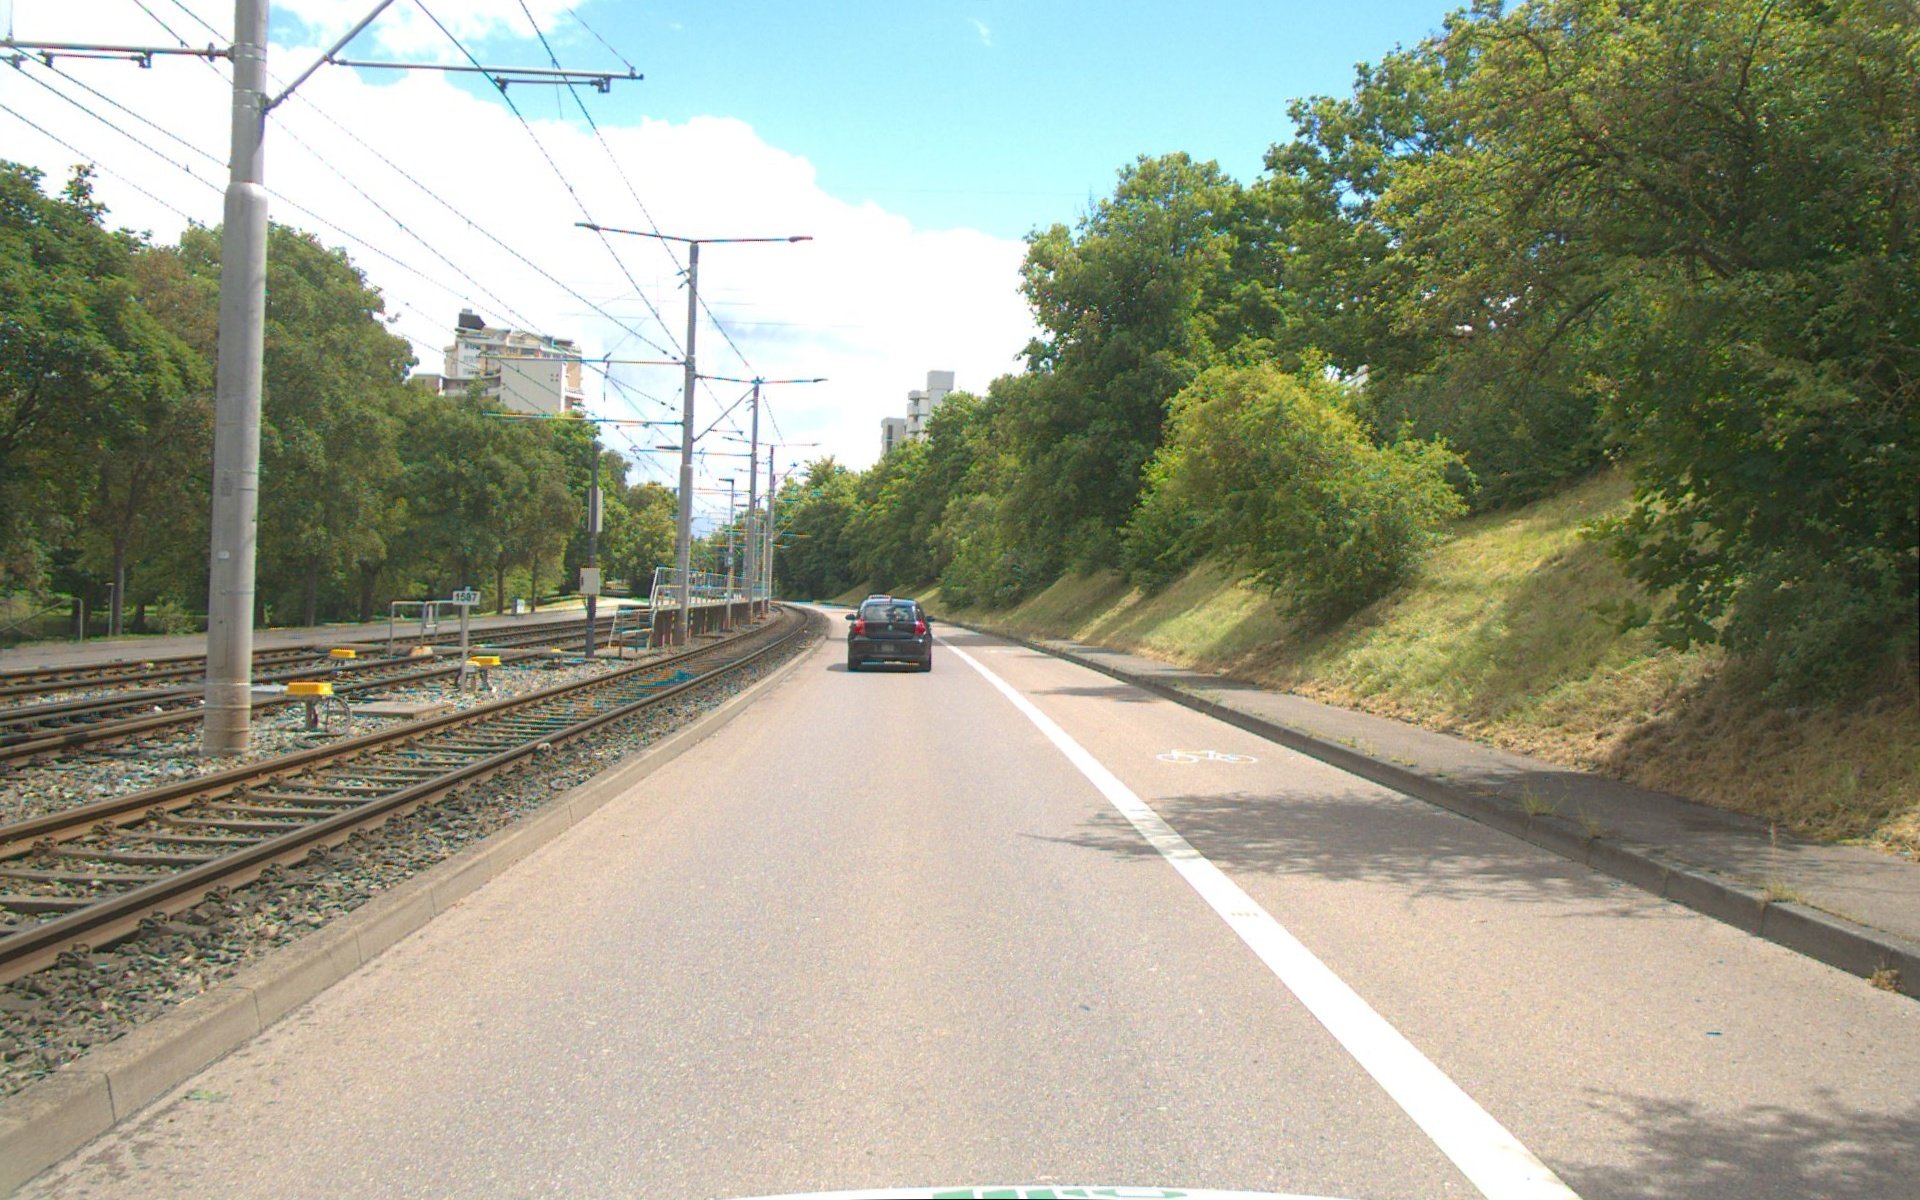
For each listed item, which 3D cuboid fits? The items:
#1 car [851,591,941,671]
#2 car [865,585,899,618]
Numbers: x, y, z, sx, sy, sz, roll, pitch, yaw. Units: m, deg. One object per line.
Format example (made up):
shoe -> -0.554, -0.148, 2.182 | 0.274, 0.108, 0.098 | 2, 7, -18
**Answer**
car -> -1.271, 0.622, 34.308 | 1.673, 1.486, 3.959 | 3, -1, 0
car -> -3.980, 0.063, 83.925 | 1.592, 1.468, 3.420 | 2, 2, -4
